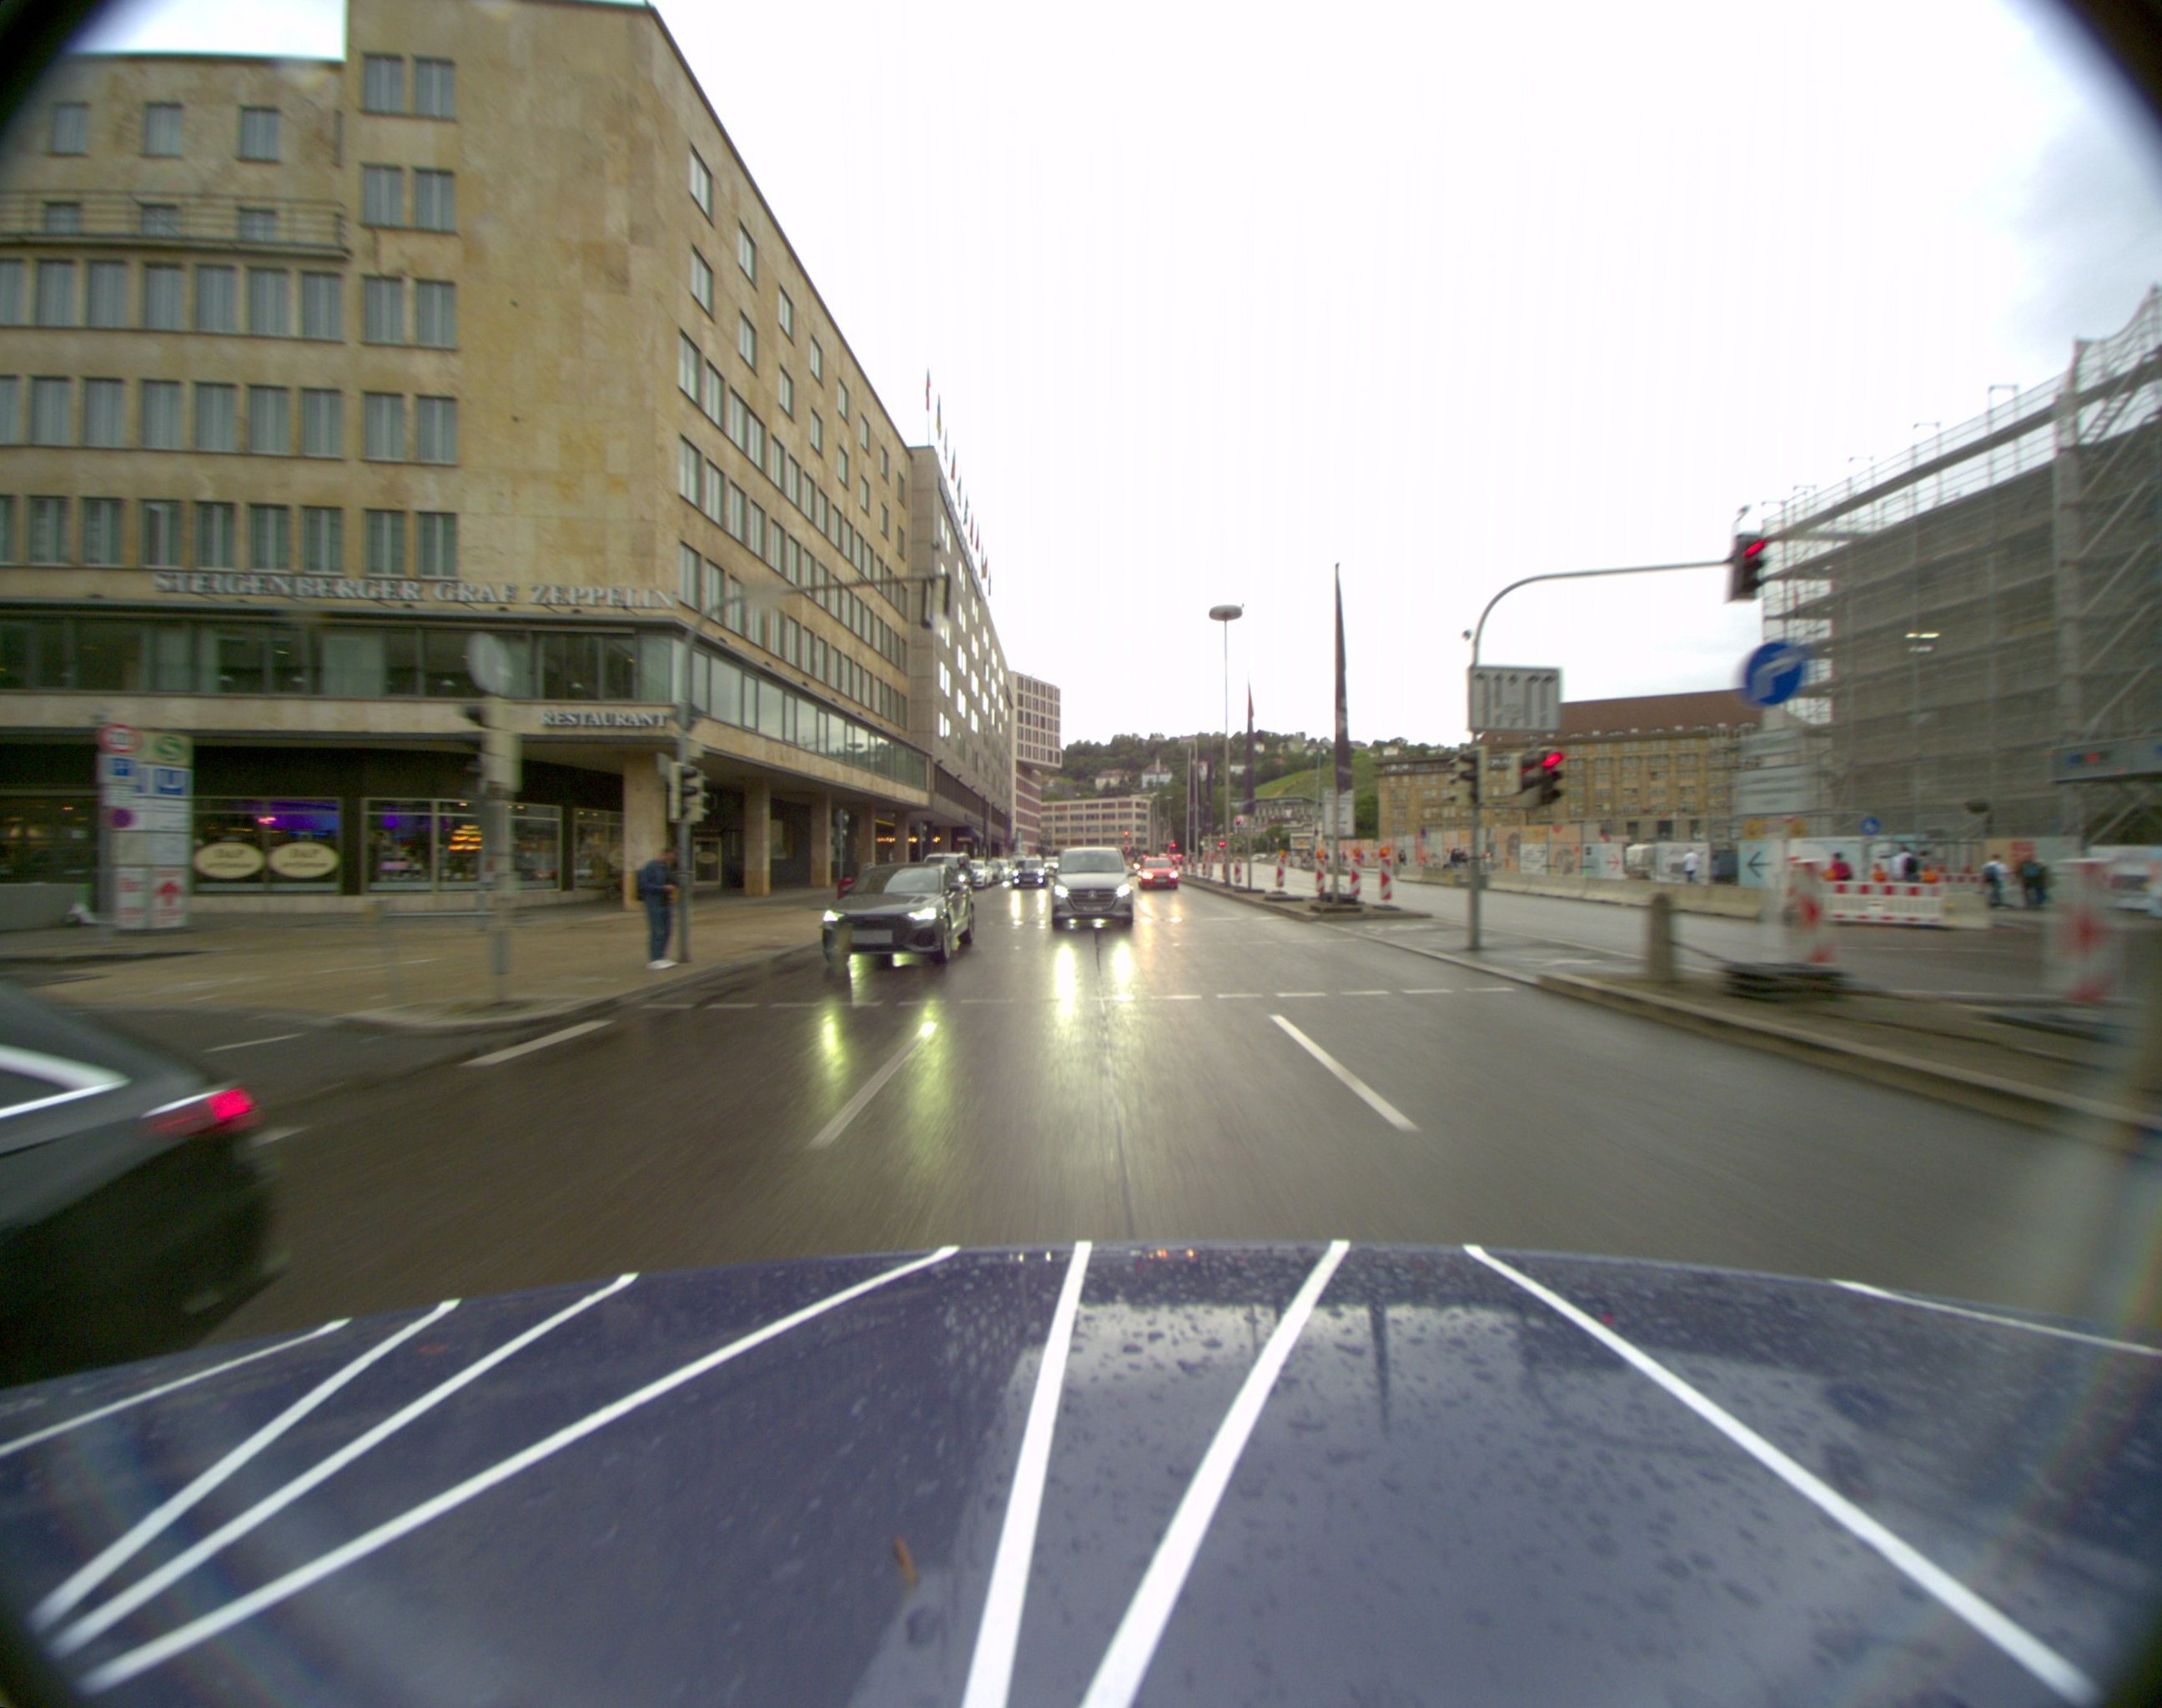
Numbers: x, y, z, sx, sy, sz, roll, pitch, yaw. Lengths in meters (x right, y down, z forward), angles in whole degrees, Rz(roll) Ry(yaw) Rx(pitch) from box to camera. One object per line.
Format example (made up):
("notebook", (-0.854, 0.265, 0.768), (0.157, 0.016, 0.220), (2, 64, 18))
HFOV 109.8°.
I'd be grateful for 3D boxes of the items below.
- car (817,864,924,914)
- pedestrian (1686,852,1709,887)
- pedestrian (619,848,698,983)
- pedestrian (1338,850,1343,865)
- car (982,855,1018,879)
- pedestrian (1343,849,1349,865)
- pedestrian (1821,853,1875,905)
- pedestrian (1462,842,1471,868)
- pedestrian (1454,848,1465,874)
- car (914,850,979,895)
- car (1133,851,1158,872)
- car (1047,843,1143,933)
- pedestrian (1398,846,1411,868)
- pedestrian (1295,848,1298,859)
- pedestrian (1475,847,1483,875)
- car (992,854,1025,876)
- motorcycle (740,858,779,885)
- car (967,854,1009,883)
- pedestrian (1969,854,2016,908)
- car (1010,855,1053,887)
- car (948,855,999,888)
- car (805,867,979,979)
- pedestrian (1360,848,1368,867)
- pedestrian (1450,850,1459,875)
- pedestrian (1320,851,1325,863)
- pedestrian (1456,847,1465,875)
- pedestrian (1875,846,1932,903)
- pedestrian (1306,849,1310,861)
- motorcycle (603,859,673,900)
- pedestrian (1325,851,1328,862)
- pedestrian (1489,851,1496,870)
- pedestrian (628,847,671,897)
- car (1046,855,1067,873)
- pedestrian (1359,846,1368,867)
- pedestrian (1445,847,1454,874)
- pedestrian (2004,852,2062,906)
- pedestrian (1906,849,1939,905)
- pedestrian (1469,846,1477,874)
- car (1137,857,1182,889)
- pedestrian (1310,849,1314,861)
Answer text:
("car", (-6.643, 1.055, 24.552), (2.194, 1.405, 4.482), (-1, 0, 0))
("pedestrian", (25.763, 0.637, 31.751), (0.565, 1.435, 0.528), (-1, 1, 8))
("pedestrian", (-6.178, 0.870, 11.140), (0.674, 1.907, 0.793), (-1, 0, 0))
("pedestrian", (27.458, 0.338, 80.441), (0.438, 1.606, 0.413), (-1, 0, 0))
("car", (-5.576, 0.866, 52.927), (1.998, 1.600, 4.876), (-1, 0, 0))
("pedestrian", (26.346, 0.264, 75.627), (0.438, 1.606, 0.413), (-1, 0, 0))
("pedestrian", (23.737, 0.761, 23.535), (0.953, 1.557, 0.709), (-1, 0, 1))
("pedestrian", (24.472, 0.046, 48.215), (0.400, 1.611, 0.365), (-2, 1, 5))
("pedestrian", (26.256, 0.485, 52.763), (0.517, 1.745, 0.463), (-2, 1, 0))
("car", (-5.941, 0.775, 34.236), (1.998, 1.873, 4.996), (-1, 0, 0))
("car", (5.091, 0.573, 60.649), (1.672, 1.512, 3.725), (-2, 0, 0))
("car", (0.192, 0.757, 19.269), (1.999, 1.893, 5.249), (-2, 0, -3))
("pedestrian", (25.400, 0.218, 59.624), (0.807, 1.675, 0.617), (-1, 1, 3))
("pedestrian", (31.217, -0.059, 110.029), (0.334, 1.606, 0.323), (-1, 0, 0))
("pedestrian", (24.825, 0.424, 47.363), (0.314, 1.759, 0.268), (-2, 1, 4))
("car", (-5.514, 0.828, 58.527), (1.998, 1.605, 4.918), (-1, 0, 0))
("motorcycle", (-15.109, 0.812, 35.754), (0.730, 1.223, 2.536), (-1, 0, 0))
("car", (-5.654, 0.851, 46.894), (1.998, 1.626, 4.560), (-1, 0, 0))
("pedestrian", (28.556, 0.839, 23.818), (0.666, 1.655, 0.697), (-1, 2, -13))
("car", (-2.562, 0.866, 40.297), (1.998, 1.548, 3.908), (-1, 0, 0))
("car", (-5.689, 0.895, 40.916), (1.998, 1.644, 5.134), (-1, 0, 0))
("car", (-2.955, 1.007, 12.844), (1.877, 1.499, 4.164), (-1, 0, 0))
("pedestrian", (30.114, 0.325, 80.872), (0.542, 2.002, 0.490), (-2, 1, 0))
("pedestrian", (23.412, 0.526, 47.647), (0.350, 1.606, 0.321), (-1, 0, 1))
("pedestrian", (28.937, 0.317, 91.194), (0.438, 1.406, 0.413), (-1, 0, 0))
("pedestrian", (23.779, 0.451, 47.628), (0.368, 1.759, 0.365), (-1, 0, 1))
("pedestrian", (24.319, 0.588, 22.490), (0.756, 1.654, 0.872), (-1, 0, 1))
("pedestrian", (29.385, 0.140, 98.535), (0.375, 1.606, 0.357), (-1, 0, 0))
("motorcycle", (-16.784, 0.944, 28.889), (0.964, 1.444, 2.851), (-1, 0, 0))
("pedestrian", (28.228, 0.263, 87.317), (0.271, 1.303, 0.351), (-1, 0, 0))
("pedestrian", (25.388, 0.411, 46.886), (0.255, 1.187, 0.390), (-1, 1, 6))
("pedestrian", (-16.392, 0.665, 28.890), (1.000, 1.836, 1.109), (0, 1, 2))
("car", (-2.244, 0.884, 69.781), (1.763, 1.582, 3.842), (-2, 0, 0))
("pedestrian", (27.846, 0.223, 74.859), (0.593, 2.022, 0.686), (-1, 0, 0))
("pedestrian", (24.159, 0.428, 49.815), (0.367, 1.759, 0.390), (-1, 0, 4))
("pedestrian", (30.748, 0.791, 24.559), (0.709, 1.725, 0.953), (-1, 0, -8))
("pedestrian", (26.788, 0.719, 24.201), (0.648, 1.758, 0.527), (0, 1, 43))
("pedestrian", (24.462, 0.367, 47.462), (0.311, 1.759, 0.346), (-1, 0, 4))
("car", (3.644, 0.848, 35.816), (1.747, 1.369, 4.000), (-1, 0, 0))
("pedestrian", (29.951, 0.132, 98.388), (0.387, 1.606, 0.413), (-1, 0, 0))
